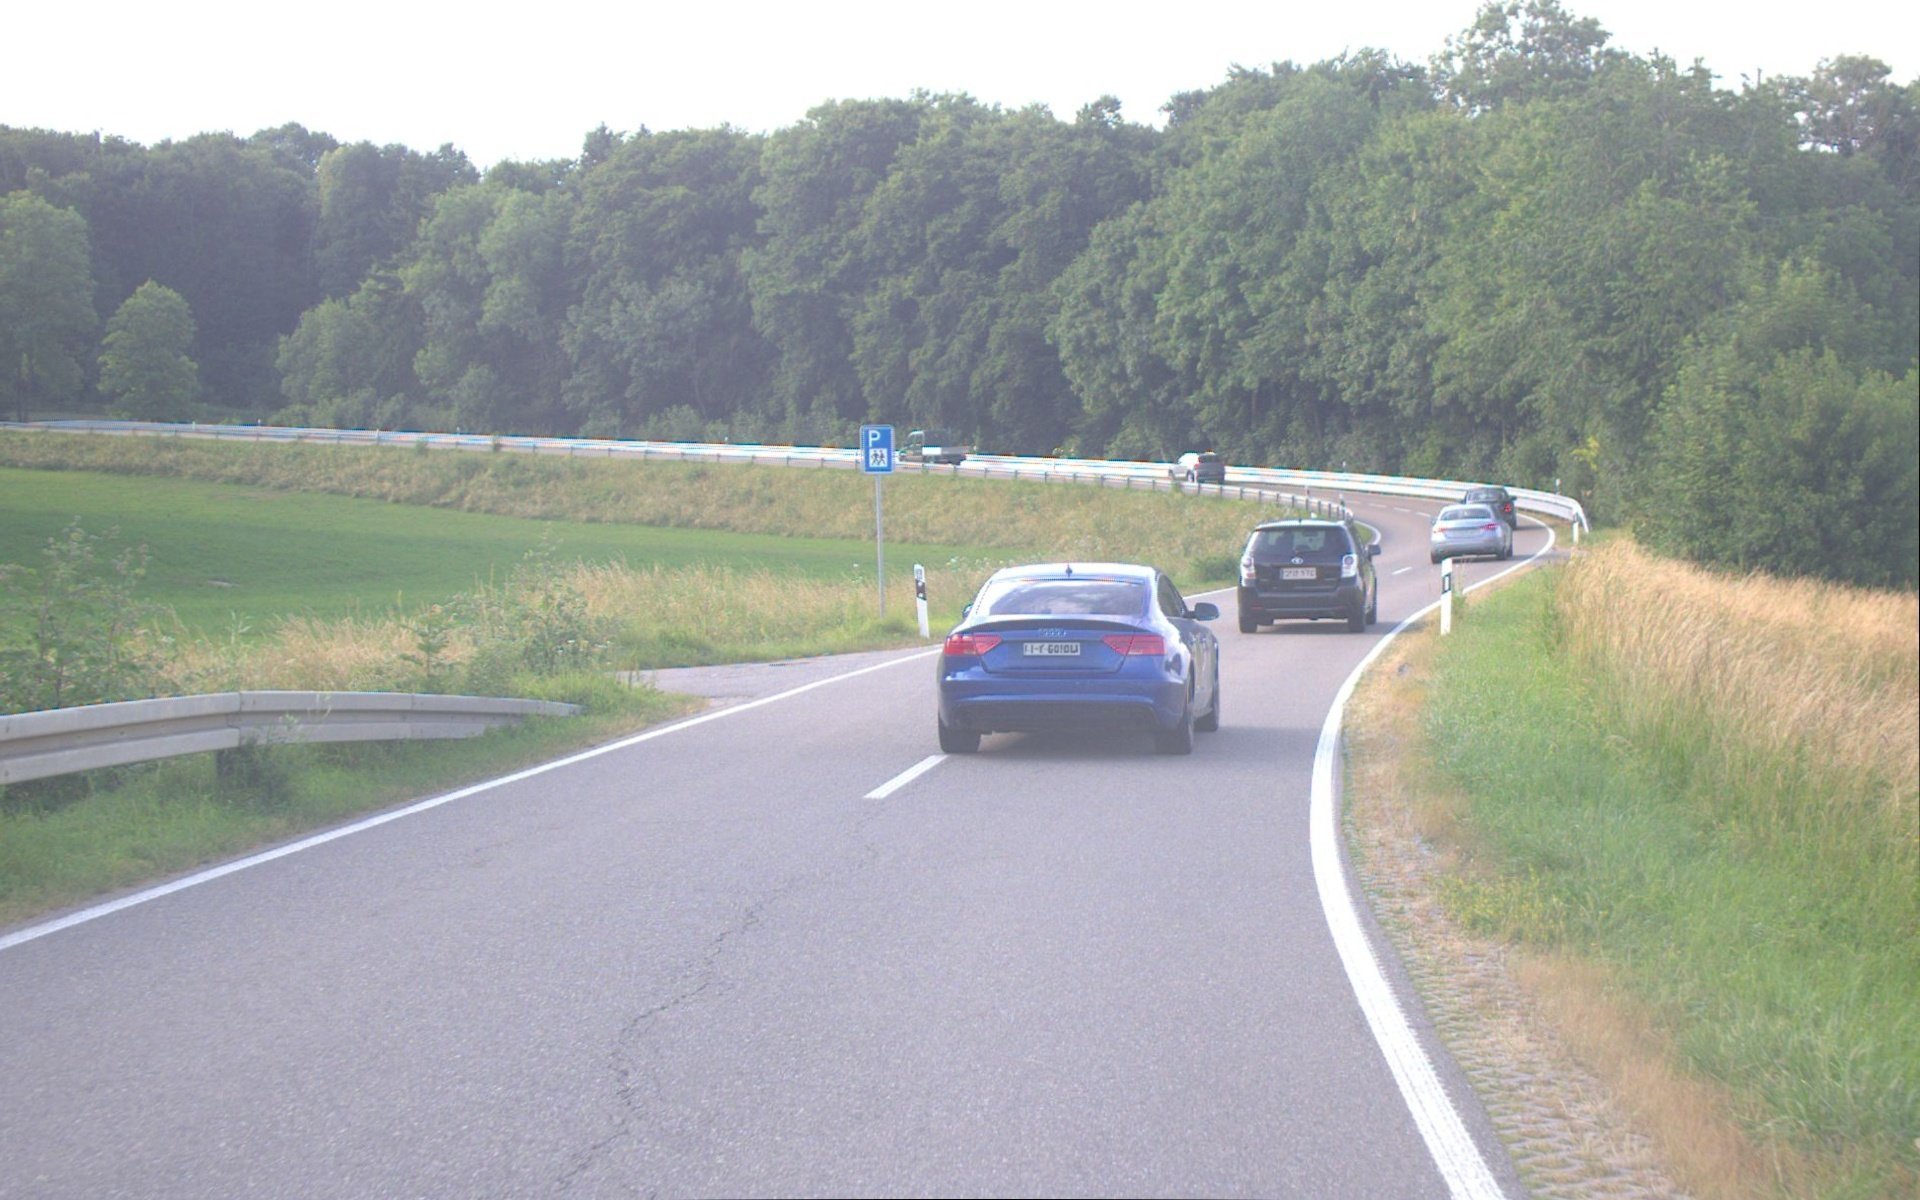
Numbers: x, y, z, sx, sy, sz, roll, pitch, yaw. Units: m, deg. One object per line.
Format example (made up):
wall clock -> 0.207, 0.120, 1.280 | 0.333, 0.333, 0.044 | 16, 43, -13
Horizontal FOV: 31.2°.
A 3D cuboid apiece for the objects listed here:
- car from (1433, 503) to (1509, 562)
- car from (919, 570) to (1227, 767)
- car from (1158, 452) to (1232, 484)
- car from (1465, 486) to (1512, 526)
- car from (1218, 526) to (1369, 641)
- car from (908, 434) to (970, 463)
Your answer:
car -> 12.731, -1.695, 85.492 | 1.683, 1.371, 3.999 | -2, 2, 11
car -> 0.940, 0.455, 25.891 | 1.819, 1.334, 4.348 | 1, 1, 8
car -> 12.236, -6.892, 179.426 | 1.993, 1.673, 4.179 | -1, 3, -27
car -> 17.356, -3.099, 113.029 | 1.471, 1.223, 3.299 | -2, 2, 8
car -> 4.858, -0.267, 49.672 | 1.862, 1.563, 3.999 | -1, 1, 10
car -> -1.279, -9.196, 208.725 | 1.993, 1.765, 4.000 | -1, 3, -32
